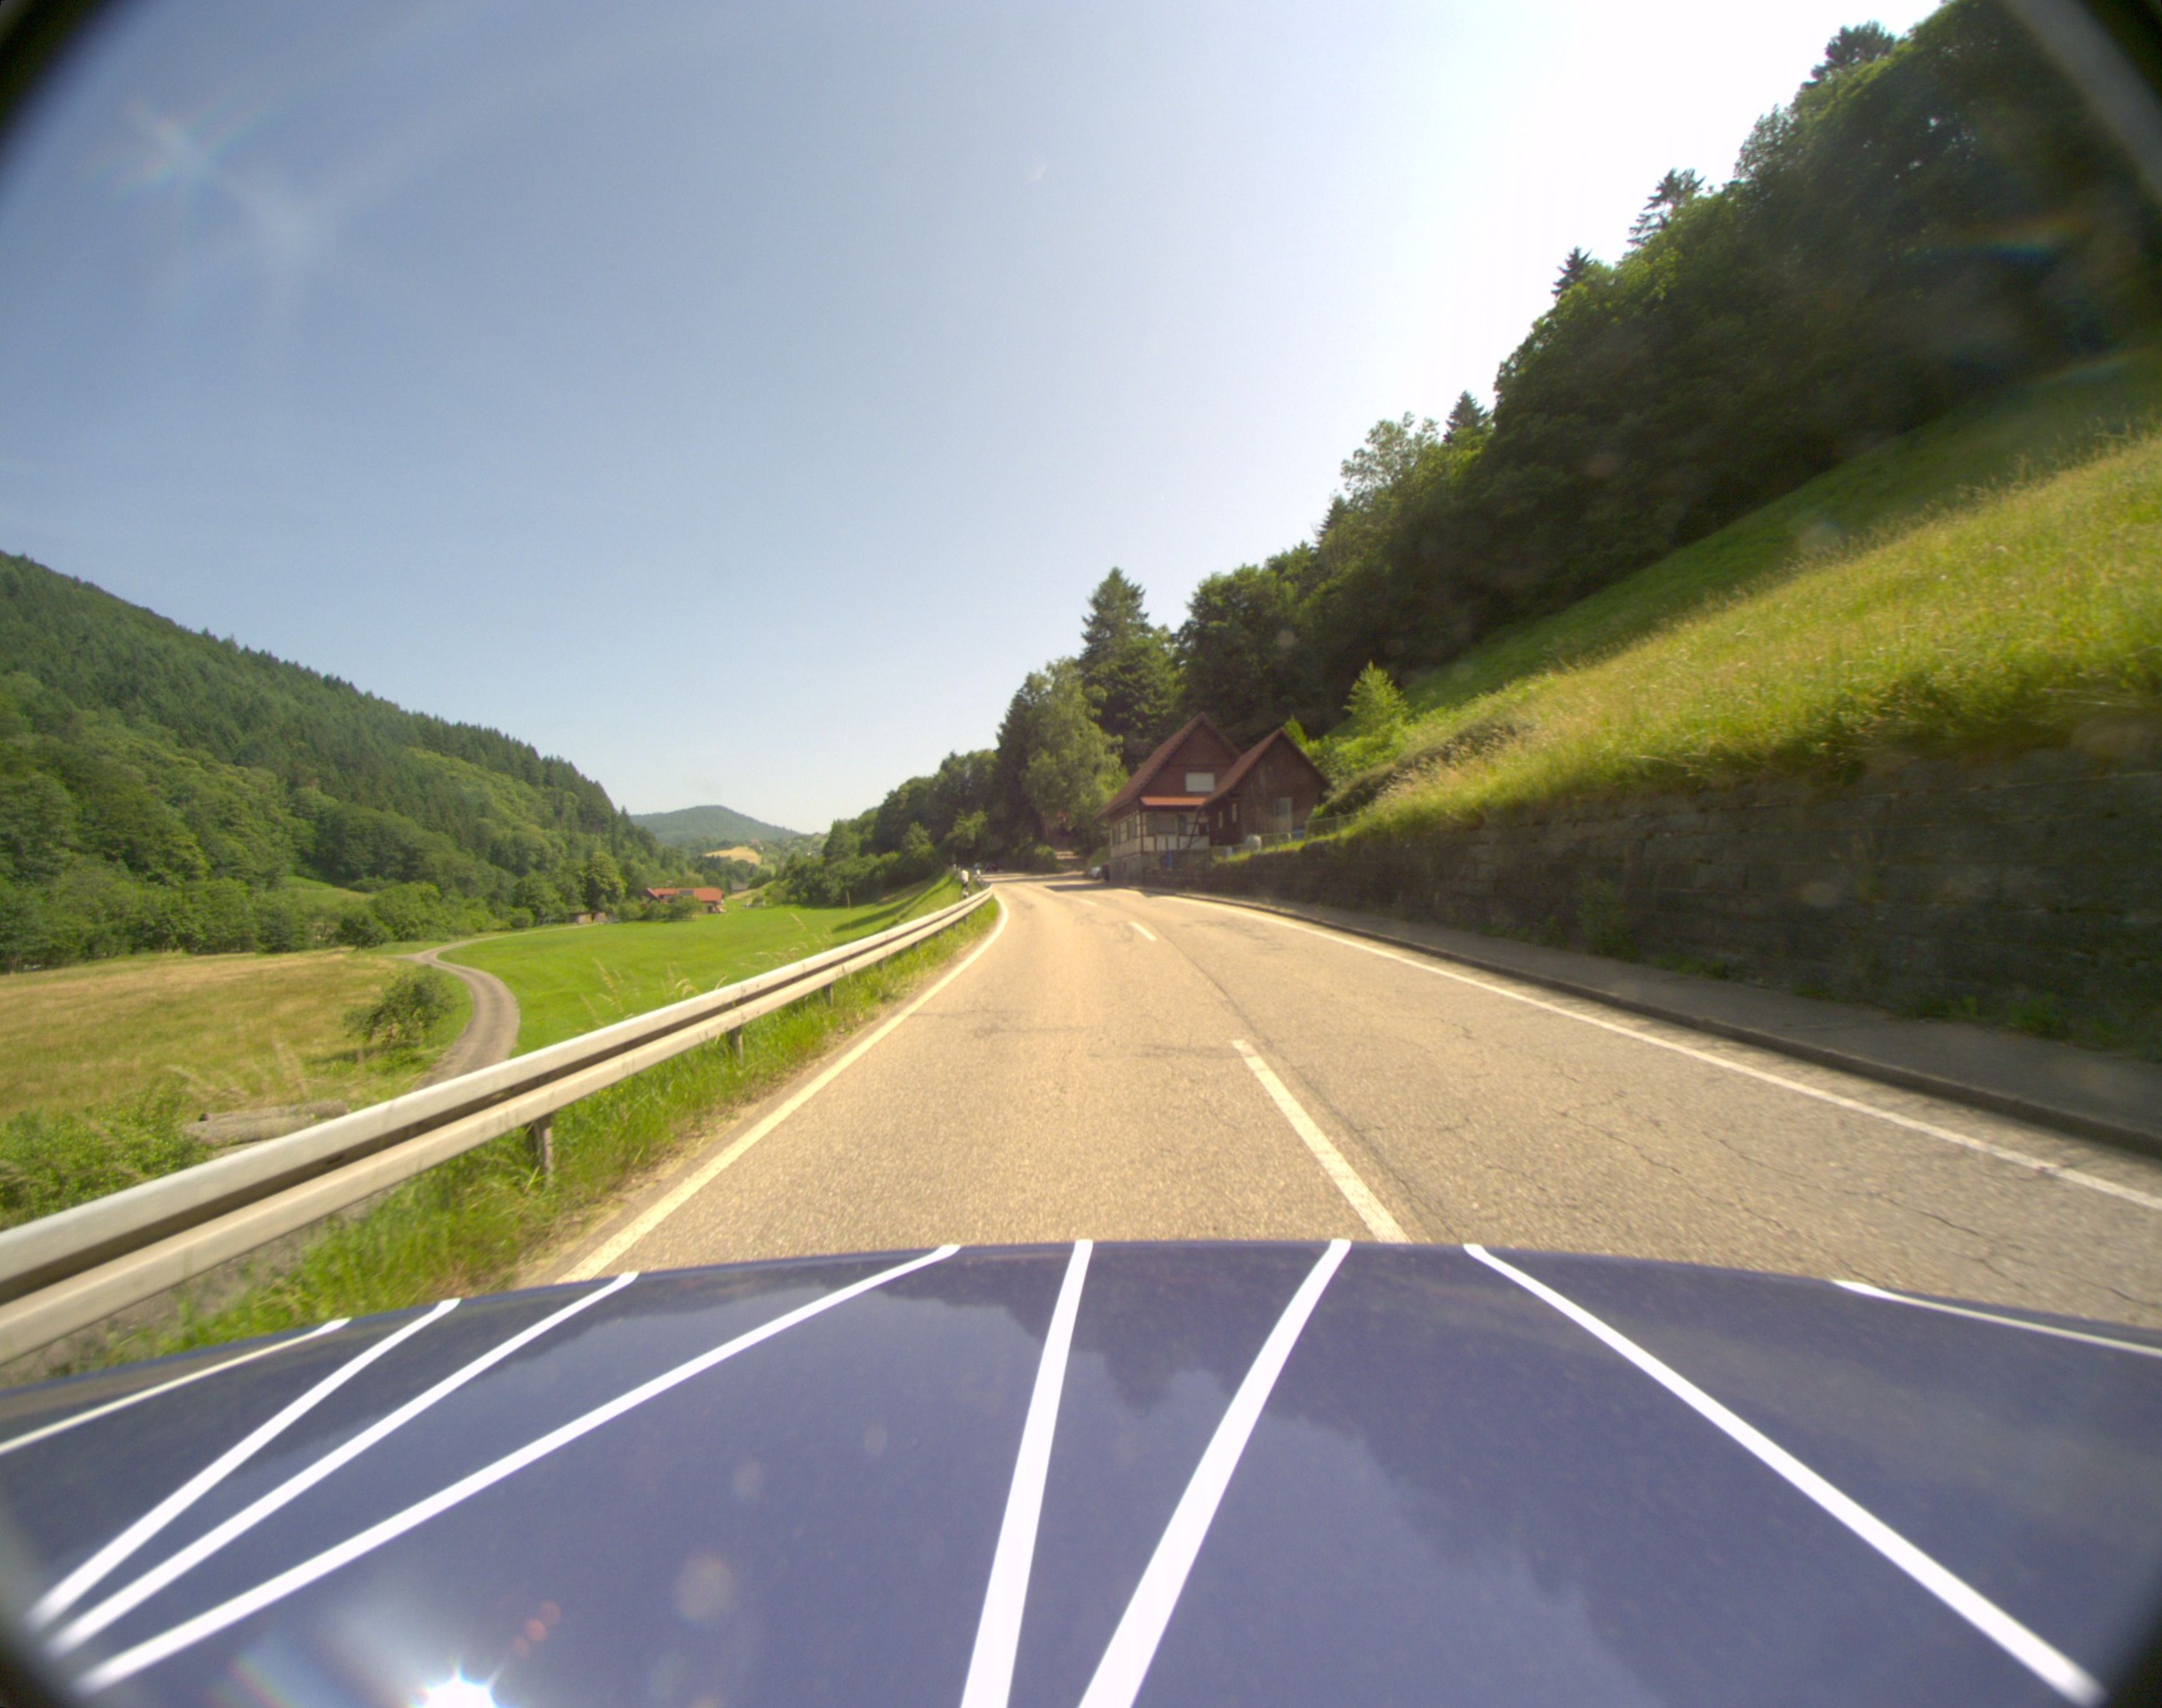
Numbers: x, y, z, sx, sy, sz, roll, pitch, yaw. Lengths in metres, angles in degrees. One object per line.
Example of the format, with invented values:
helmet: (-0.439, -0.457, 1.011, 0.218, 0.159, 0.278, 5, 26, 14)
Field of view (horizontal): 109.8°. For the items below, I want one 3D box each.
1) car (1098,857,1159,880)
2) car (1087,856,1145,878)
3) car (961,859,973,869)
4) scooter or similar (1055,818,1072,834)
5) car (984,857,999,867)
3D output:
car: (3.228, 0.979, 52.379, 3.830, 1.424, 1.861, -1, 1, -12)
car: (2.505, 0.941, 54.911, 3.830, 1.408, 1.855, -3, 0, -13)
car: (-20.664, 1.802, 137.347, 1.895, 1.635, 4.253, -3, 1, -11)
scooter or similar: (-2.550, -4.109, 111.349, 1.983, 2.015, 4.402, -6, 1, -5)
car: (-13.658, 1.217, 115.721, 1.771, 1.388, 4.139, -3, 1, -14)
